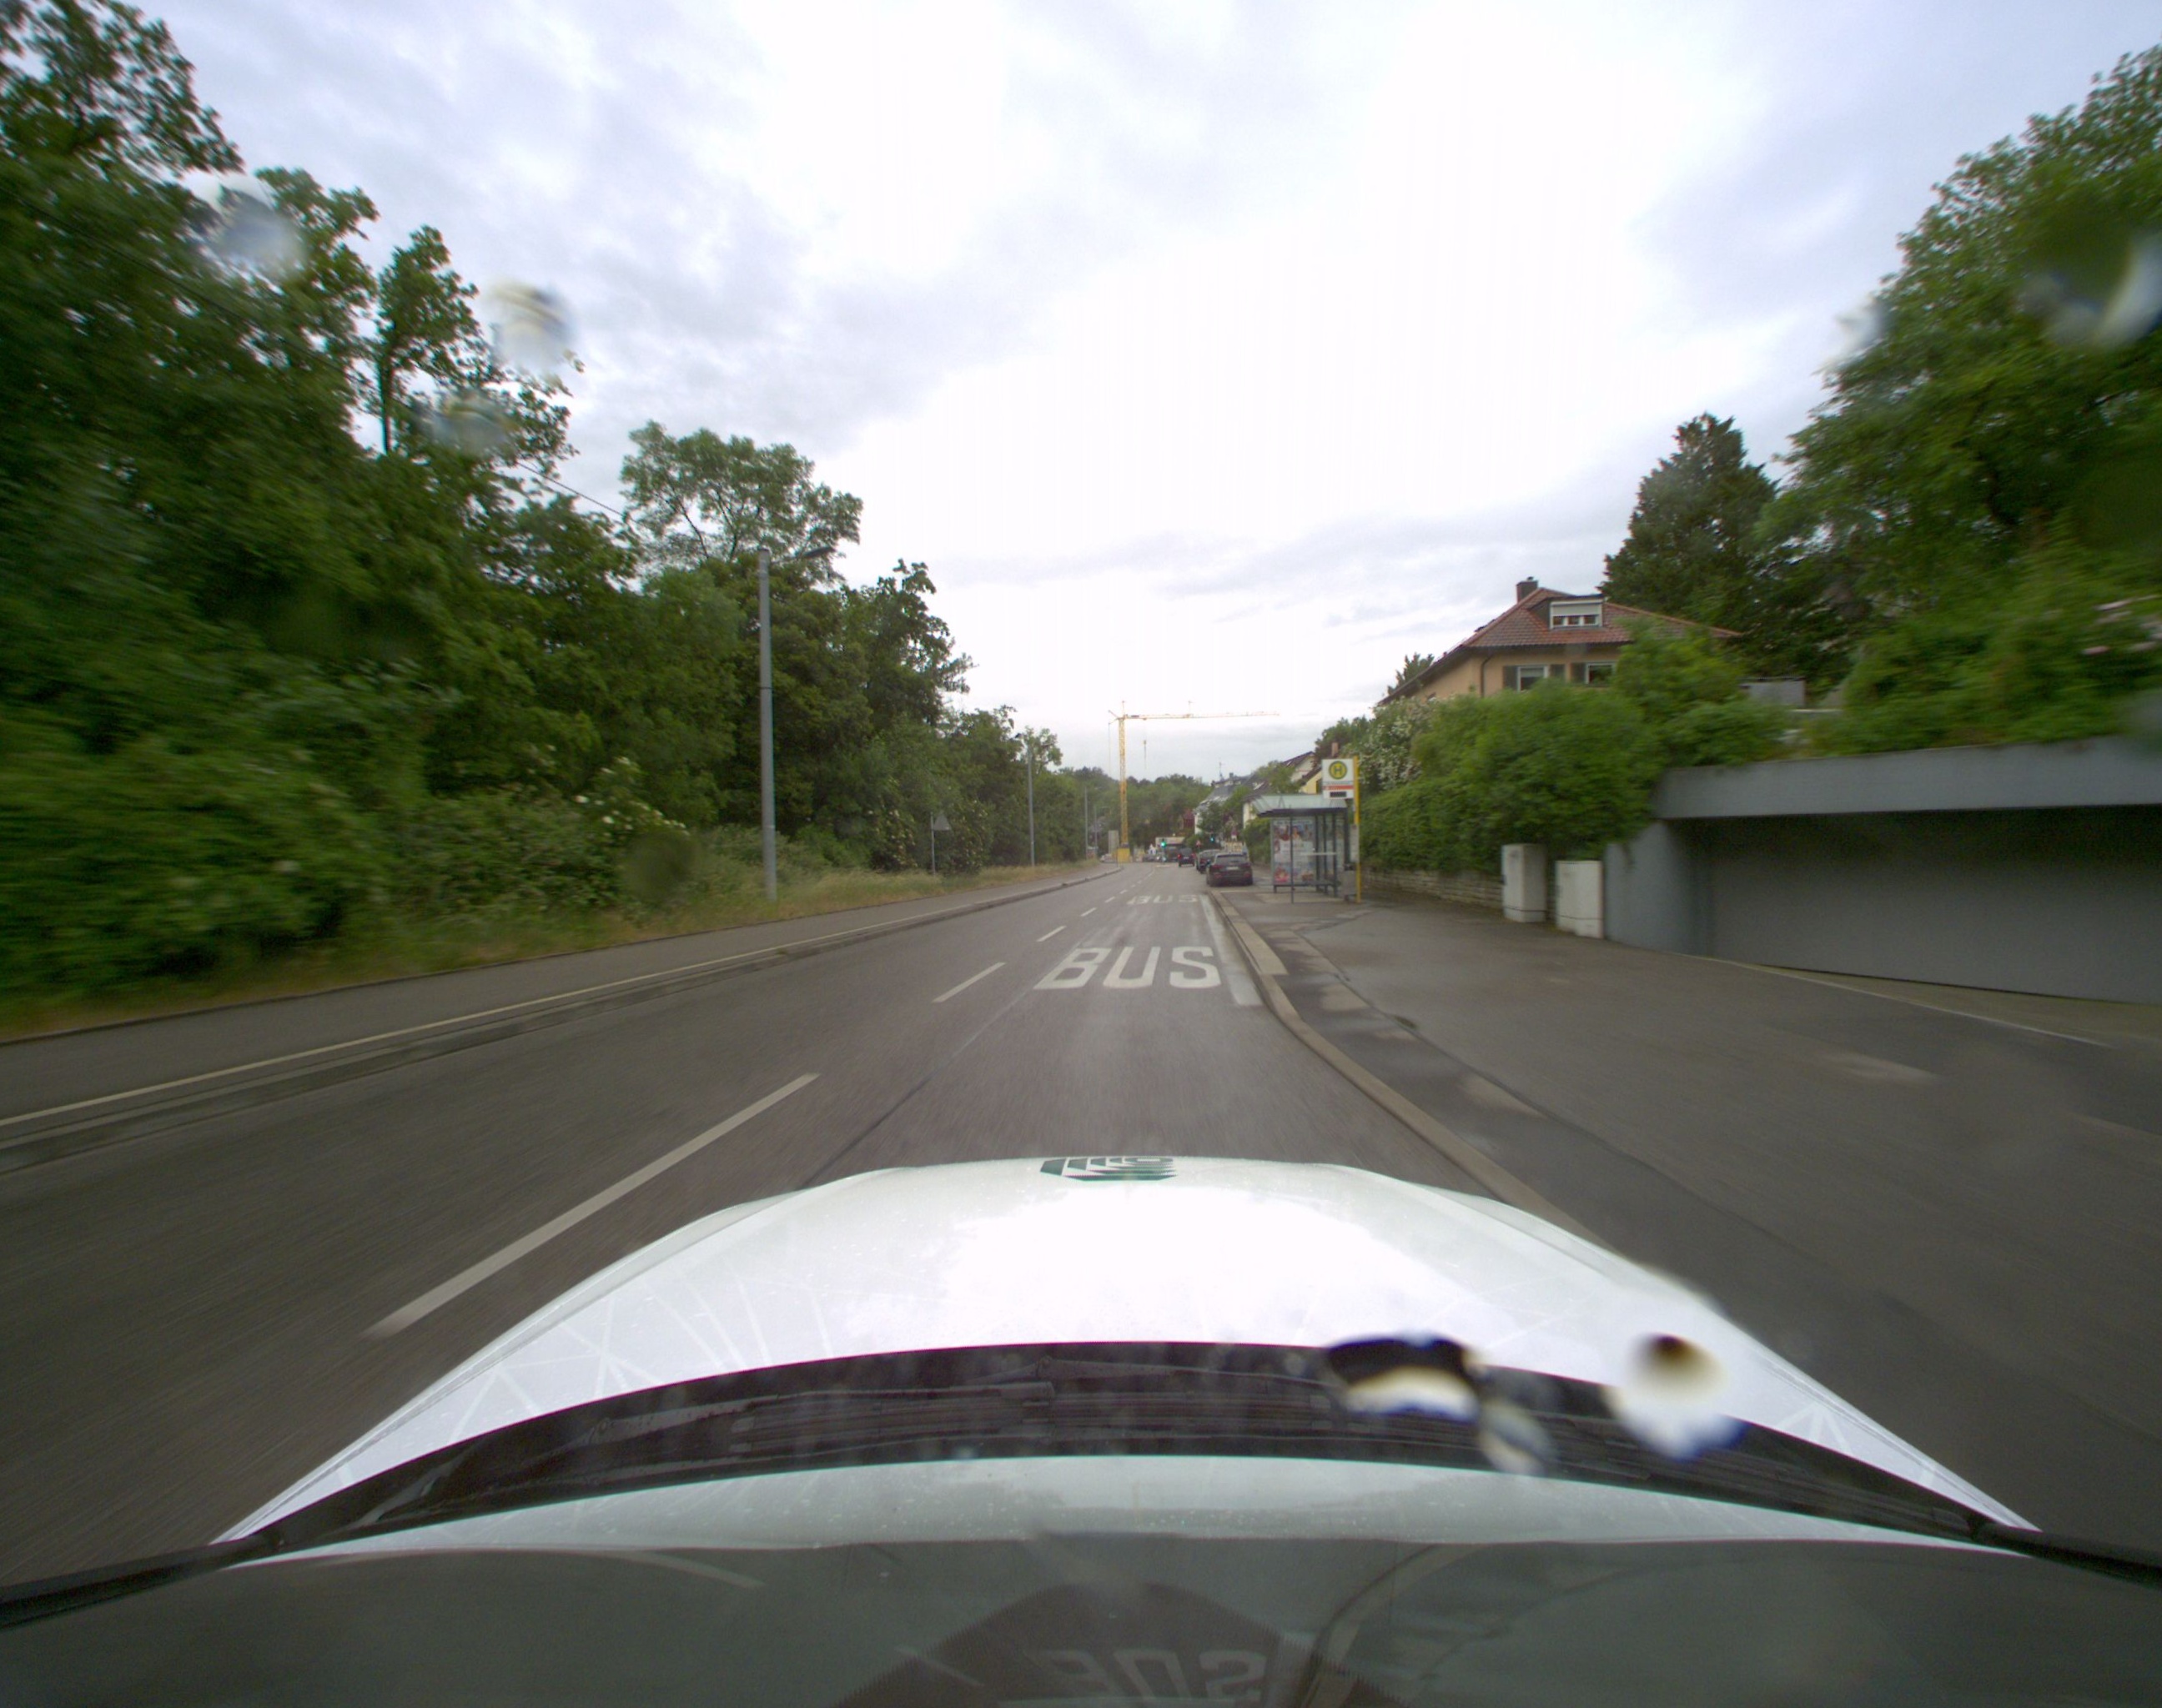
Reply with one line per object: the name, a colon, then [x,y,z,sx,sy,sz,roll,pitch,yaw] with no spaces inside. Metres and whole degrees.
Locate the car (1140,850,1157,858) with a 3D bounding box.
car: [11.784,-0.040,142.117,1.931,1.422,4.823,-1,0,-8]

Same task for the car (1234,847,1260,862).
car: [18.845,0.118,92.367,1.927,1.596,4.338,1,-1,-2]

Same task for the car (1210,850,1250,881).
car: [7.444,0.598,40.988,1.802,1.398,4.112,-2,-1,9]

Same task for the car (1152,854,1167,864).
car: [12.367,0.859,128.126,1.670,1.457,3.380,-3,-1,-4]

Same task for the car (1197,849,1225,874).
car: [9.110,0.511,57.218,1.721,1.568,4.531,-3,0,7]

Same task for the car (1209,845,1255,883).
car: [6.706,0.448,36.548,1.819,1.547,4.641,-2,-1,9]

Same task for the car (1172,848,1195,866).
car: [10.575,0.347,84.324,1.924,1.751,4.001,1,-1,2]

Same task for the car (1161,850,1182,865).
car: [13.105,0.500,118.520,1.990,2.013,4.948,-4,-1,-4]
